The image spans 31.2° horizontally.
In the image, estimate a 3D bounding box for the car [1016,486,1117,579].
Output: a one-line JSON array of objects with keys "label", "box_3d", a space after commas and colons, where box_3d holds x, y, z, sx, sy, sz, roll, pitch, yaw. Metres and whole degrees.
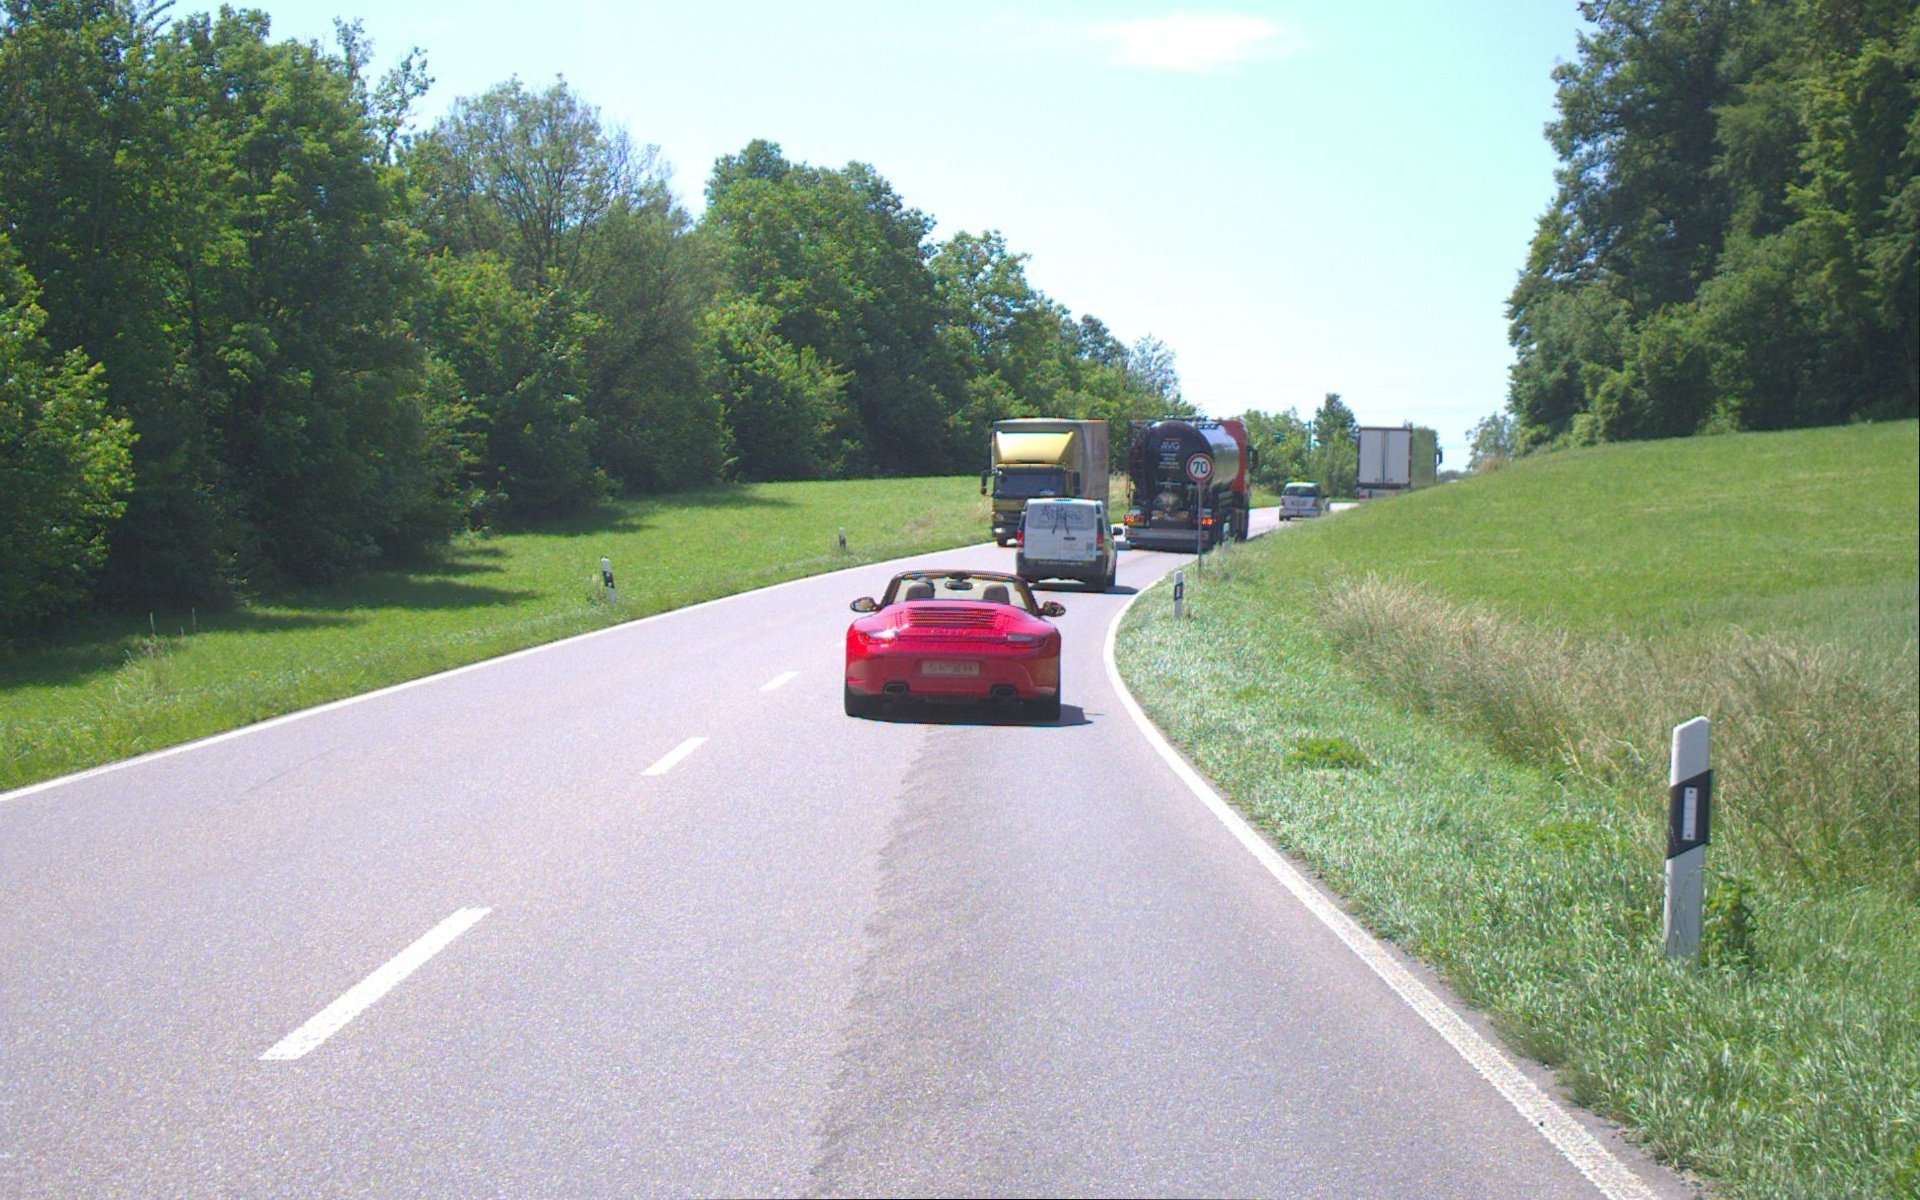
[{"label": "car", "box_3d": [2.279, -1.416, 72.662, 1.679, 1.894, 4.008, 1, 1, 8]}]

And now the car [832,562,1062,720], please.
[{"label": "car", "box_3d": [-0.082, 0.317, 30.542, 1.882, 1.251, 4.009, 1, 1, 1]}]

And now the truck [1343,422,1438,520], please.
[{"label": "truck", "box_3d": [21.430, -6.440, 170.593, 3.727, 4.644, 12.026, 1, 2, 11]}]

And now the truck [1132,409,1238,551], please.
[{"label": "truck", "box_3d": [6.991, -3.696, 105.165, 2.404, 4.035, 12.548, -1, 2, 7]}]

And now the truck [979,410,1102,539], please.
[{"label": "truck", "box_3d": [2.498, -3.720, 103.588, 2.731, 3.678, 8.544, 1, 2, 7]}]

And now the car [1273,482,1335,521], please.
[{"label": "car", "box_3d": [13.868, -3.998, 138.597, 1.832, 1.508, 4.188, 1, 3, 15]}]
